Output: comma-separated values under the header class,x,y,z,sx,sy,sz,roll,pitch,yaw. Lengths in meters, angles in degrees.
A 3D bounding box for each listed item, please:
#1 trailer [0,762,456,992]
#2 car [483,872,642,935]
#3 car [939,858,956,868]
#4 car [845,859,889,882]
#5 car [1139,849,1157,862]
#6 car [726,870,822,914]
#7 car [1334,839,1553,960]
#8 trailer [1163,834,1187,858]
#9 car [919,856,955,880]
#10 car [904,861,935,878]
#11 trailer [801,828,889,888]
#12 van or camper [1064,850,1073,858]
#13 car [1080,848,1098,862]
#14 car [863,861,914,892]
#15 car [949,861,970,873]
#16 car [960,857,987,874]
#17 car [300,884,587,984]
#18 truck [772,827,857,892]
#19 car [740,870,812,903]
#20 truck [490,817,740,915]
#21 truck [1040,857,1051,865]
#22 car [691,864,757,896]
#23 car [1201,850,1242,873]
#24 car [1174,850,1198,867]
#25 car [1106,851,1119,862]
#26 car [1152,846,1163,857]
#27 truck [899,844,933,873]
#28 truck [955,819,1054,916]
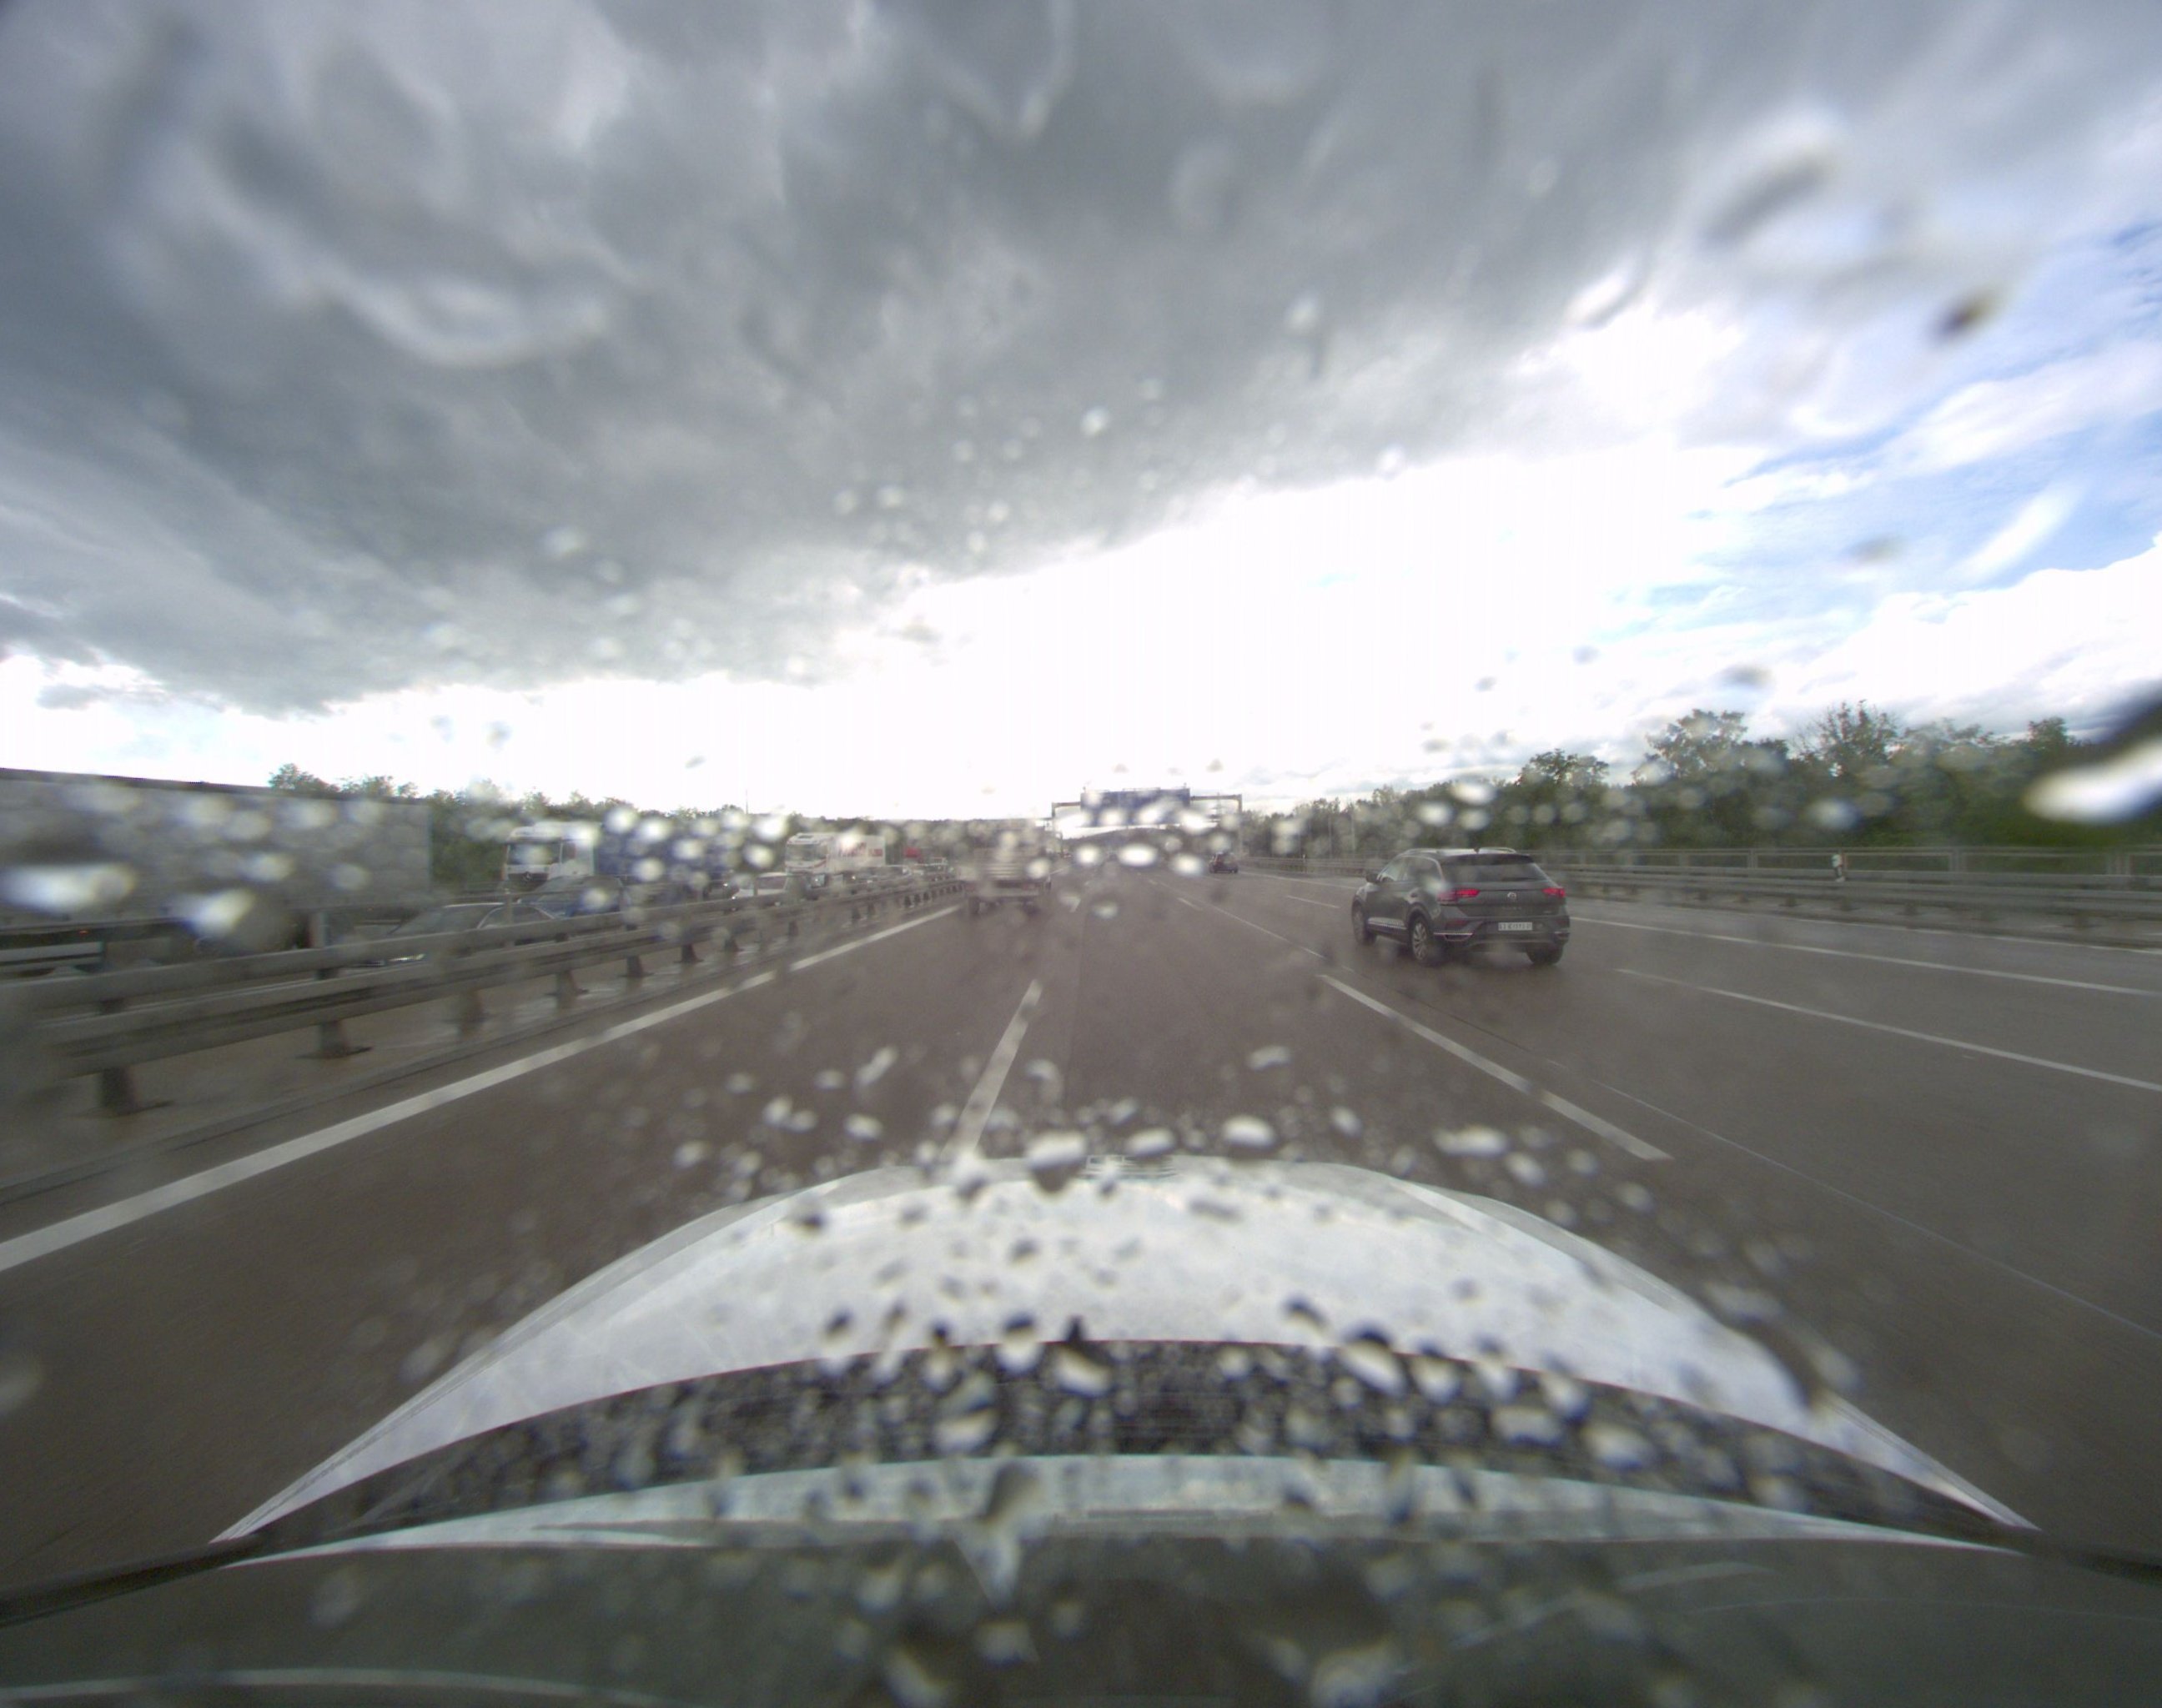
class,x,y,z,sx,sy,sz,roll,pitch,yaw
trailer,-19.972,0.392,17.130,3.231,3.933,13.021,-1,0,2
car,-16.091,1.467,25.618,1.814,1.624,4.700,-2,0,2
car,-20.810,1.452,127.379,1.755,1.426,4.343,-2,1,1
car,-15.213,1.166,58.126,1.639,1.503,4.679,-2,0,2
car,9.642,0.207,117.060,2.091,1.699,3.998,-1,0,-1
car,-11.549,1.395,31.007,1.713,1.354,4.628,-2,0,2
car,5.352,0.597,12.594,1.786,1.562,3.722,-1,0,1
trailer,16.613,-1.411,144.875,3.319,4.175,11.845,-1,0,2
car,-10.636,1.024,60.436,1.785,1.619,4.002,-2,0,2
car,-14.727,1.423,74.447,1.639,1.407,4.546,-2,0,2
trailer,-18.487,0.222,64.994,3.175,4.194,11.960,-2,1,1
van or camper,-3.440,0.082,223.757,2.087,2.186,4.974,-1,0,2
car,1.027,0.106,99.378,2.037,1.699,4.002,-1,0,2
car,-11.161,1.276,47.503,1.785,1.619,4.286,-2,0,2
car,-14.070,1.499,94.813,1.697,1.289,4.188,-2,1,1
car,-9.938,1.062,75.524,1.639,1.440,4.732,-2,0,2
car,-11.656,1.380,15.399,1.713,1.354,4.537,-2,0,2
truck,-18.669,0.326,57.722,3.166,4.194,7.740,-2,1,1
car,-15.397,1.591,41.367,1.639,1.510,4.862,-2,-1,2
truck,-23.349,0.402,43.158,2.639,4.021,17.751,-2,1,1
truck,-7.659,1.447,177.769,1.986,1.739,4.673,-1,0,2
car,-19.254,1.363,44.141,1.639,1.545,4.002,-2,1,2
car,10.632,0.548,61.912,2.099,1.605,5.063,-1,0,-1
car,11.111,0.435,86.671,2.037,1.699,5.010,-1,0,2
car,5.158,0.407,134.240,2.037,1.699,4.002,-1,0,2
car,17.182,-0.552,183.013,2.037,2.498,4.002,-1,0,2
truck,-20.689,0.498,102.572,2.455,3.536,7.810,-2,1,1
truck,-2.037,0.309,24.112,2.346,2.408,7.355,-1,0,-1
